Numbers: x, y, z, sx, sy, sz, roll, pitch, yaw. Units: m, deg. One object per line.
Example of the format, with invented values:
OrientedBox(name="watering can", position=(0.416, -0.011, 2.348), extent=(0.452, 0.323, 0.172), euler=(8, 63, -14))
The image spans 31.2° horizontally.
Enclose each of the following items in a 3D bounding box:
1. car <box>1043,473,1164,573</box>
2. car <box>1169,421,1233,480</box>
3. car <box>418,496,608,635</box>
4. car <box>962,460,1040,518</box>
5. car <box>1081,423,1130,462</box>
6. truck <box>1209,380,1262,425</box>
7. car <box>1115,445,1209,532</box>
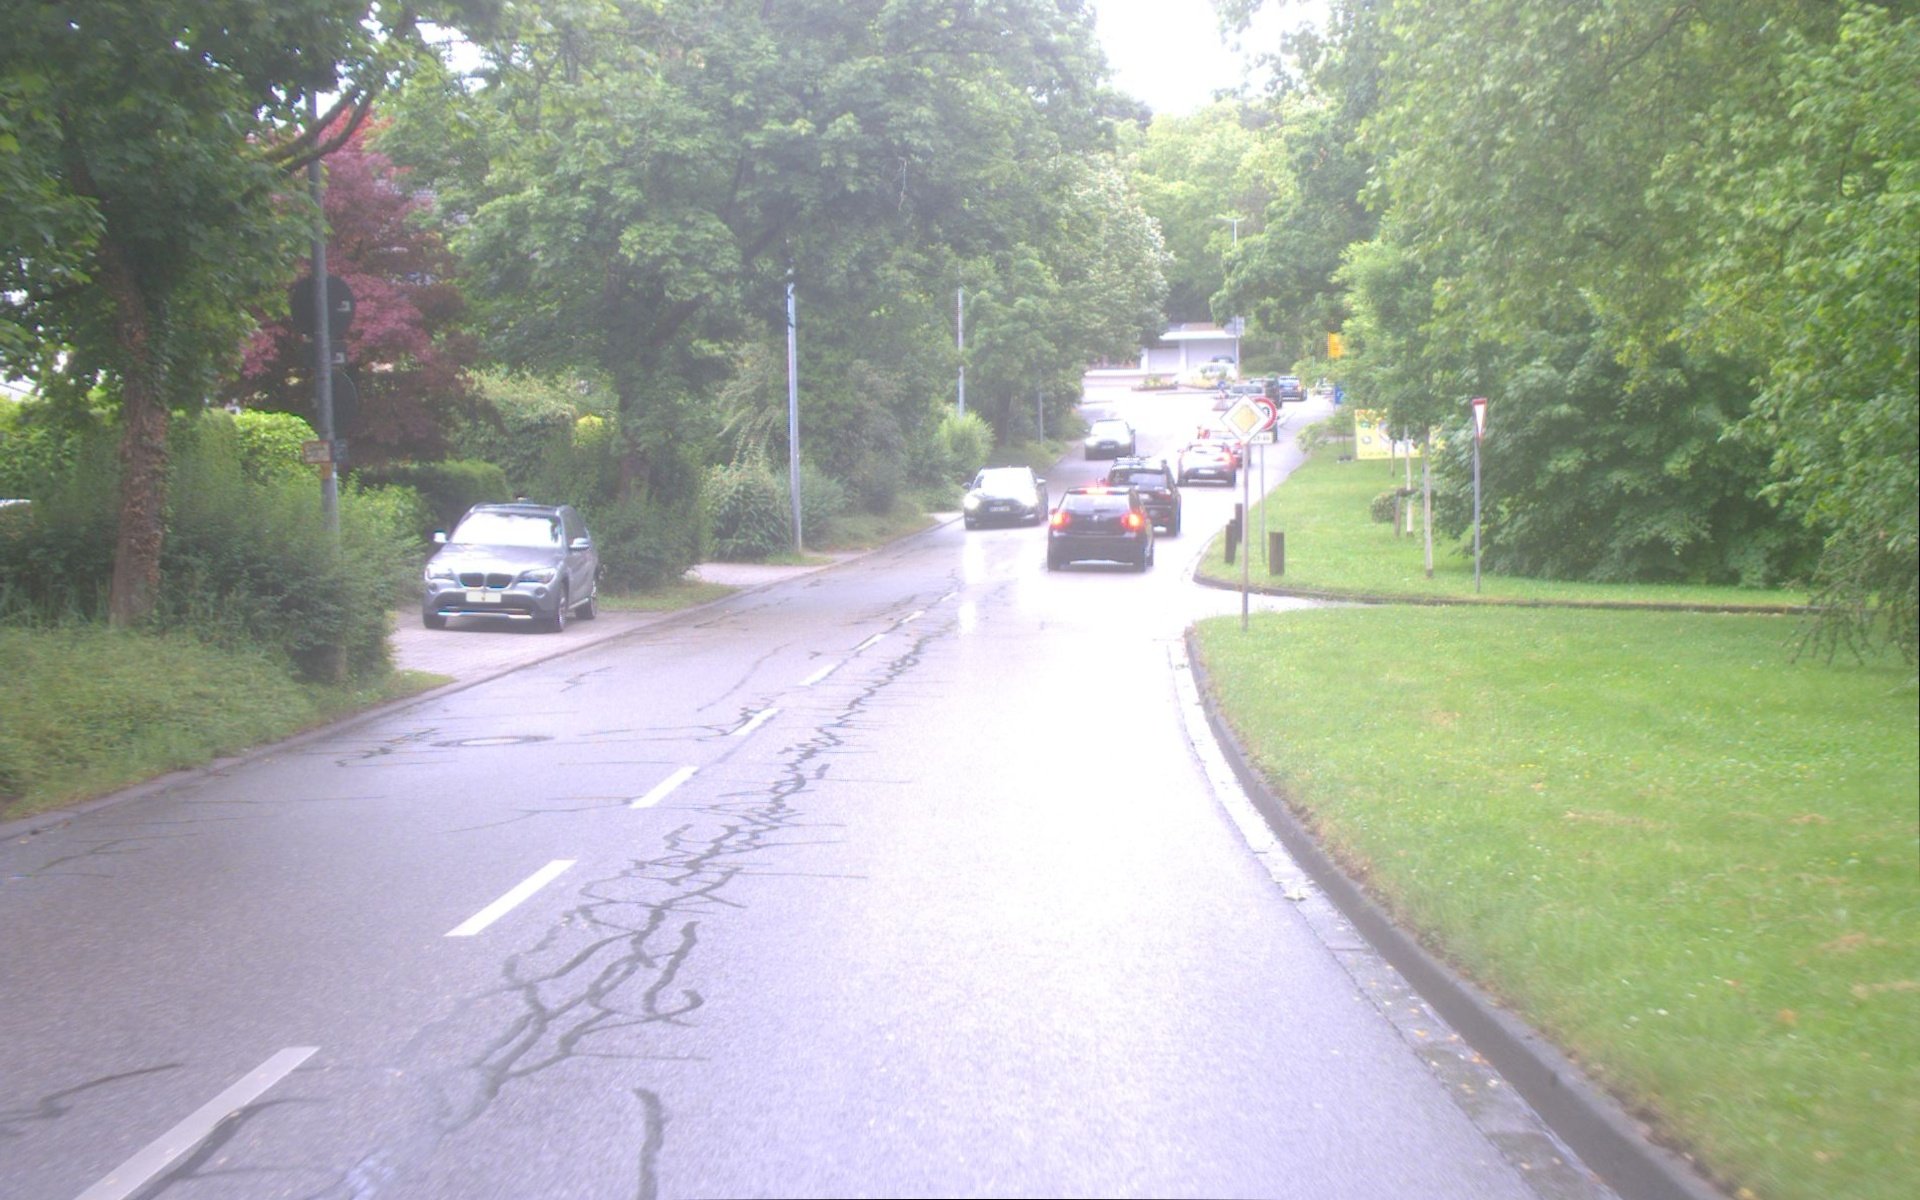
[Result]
OrientedBox(name="car", position=(2.586, -1.399, 61.291), extent=(1.799, 1.510, 3.753), euler=(2, 5, 7))
OrientedBox(name="car", position=(7.881, -4.899, 112.249), extent=(1.856, 1.778, 4.000), euler=(-1, 4, 7))
OrientedBox(name="car", position=(-5.697, -0.487, 44.216), extent=(1.663, 1.536, 4.284), euler=(3, 3, 2))
OrientedBox(name="car", position=(1.050, -2.782, 85.802), extent=(1.690, 1.391, 4.491), euler=(-1, 2, 4))
OrientedBox(name="car", position=(5.762, -6.243, 135.813), extent=(1.754, 1.358, 4.326), euler=(-2, 4, 5))
OrientedBox(name="truck", position=(13.137, -9.423, 163.542), extent=(2.417, 1.997, 5.151), euler=(-1, 4, 6))
OrientedBox(name="car", position=(4.632, -2.561, 78.438), extent=(1.856, 1.778, 4.000), euler=(-1, 4, 7))
